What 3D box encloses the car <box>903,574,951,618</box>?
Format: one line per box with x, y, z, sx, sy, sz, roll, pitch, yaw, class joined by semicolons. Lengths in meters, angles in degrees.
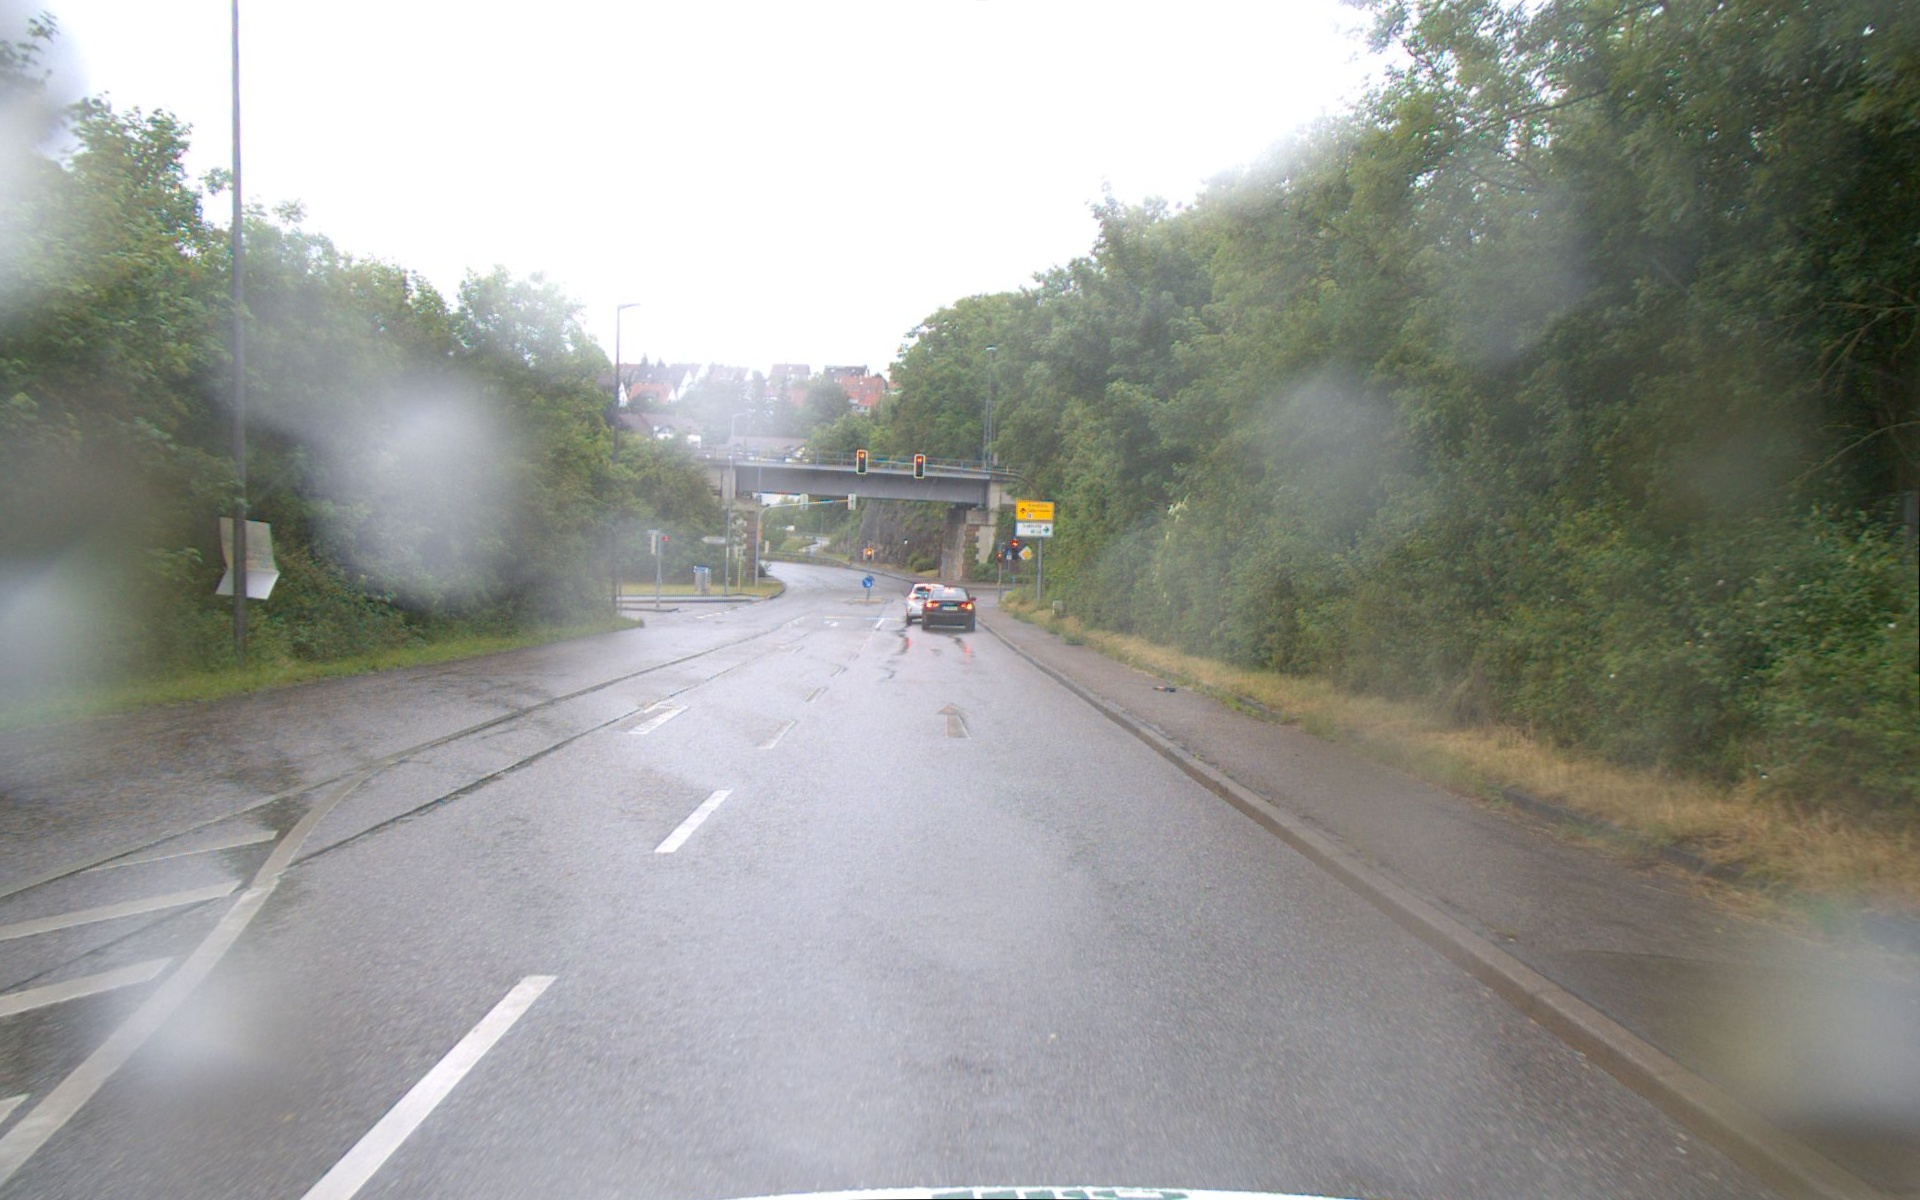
-1.224;-0.148;62.223;1.732;1.590;3.999;0;0;-1;car

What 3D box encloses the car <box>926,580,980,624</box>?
-0.254;0.059;55.504;1.732;1.404;3.999;0;0;-1;car
